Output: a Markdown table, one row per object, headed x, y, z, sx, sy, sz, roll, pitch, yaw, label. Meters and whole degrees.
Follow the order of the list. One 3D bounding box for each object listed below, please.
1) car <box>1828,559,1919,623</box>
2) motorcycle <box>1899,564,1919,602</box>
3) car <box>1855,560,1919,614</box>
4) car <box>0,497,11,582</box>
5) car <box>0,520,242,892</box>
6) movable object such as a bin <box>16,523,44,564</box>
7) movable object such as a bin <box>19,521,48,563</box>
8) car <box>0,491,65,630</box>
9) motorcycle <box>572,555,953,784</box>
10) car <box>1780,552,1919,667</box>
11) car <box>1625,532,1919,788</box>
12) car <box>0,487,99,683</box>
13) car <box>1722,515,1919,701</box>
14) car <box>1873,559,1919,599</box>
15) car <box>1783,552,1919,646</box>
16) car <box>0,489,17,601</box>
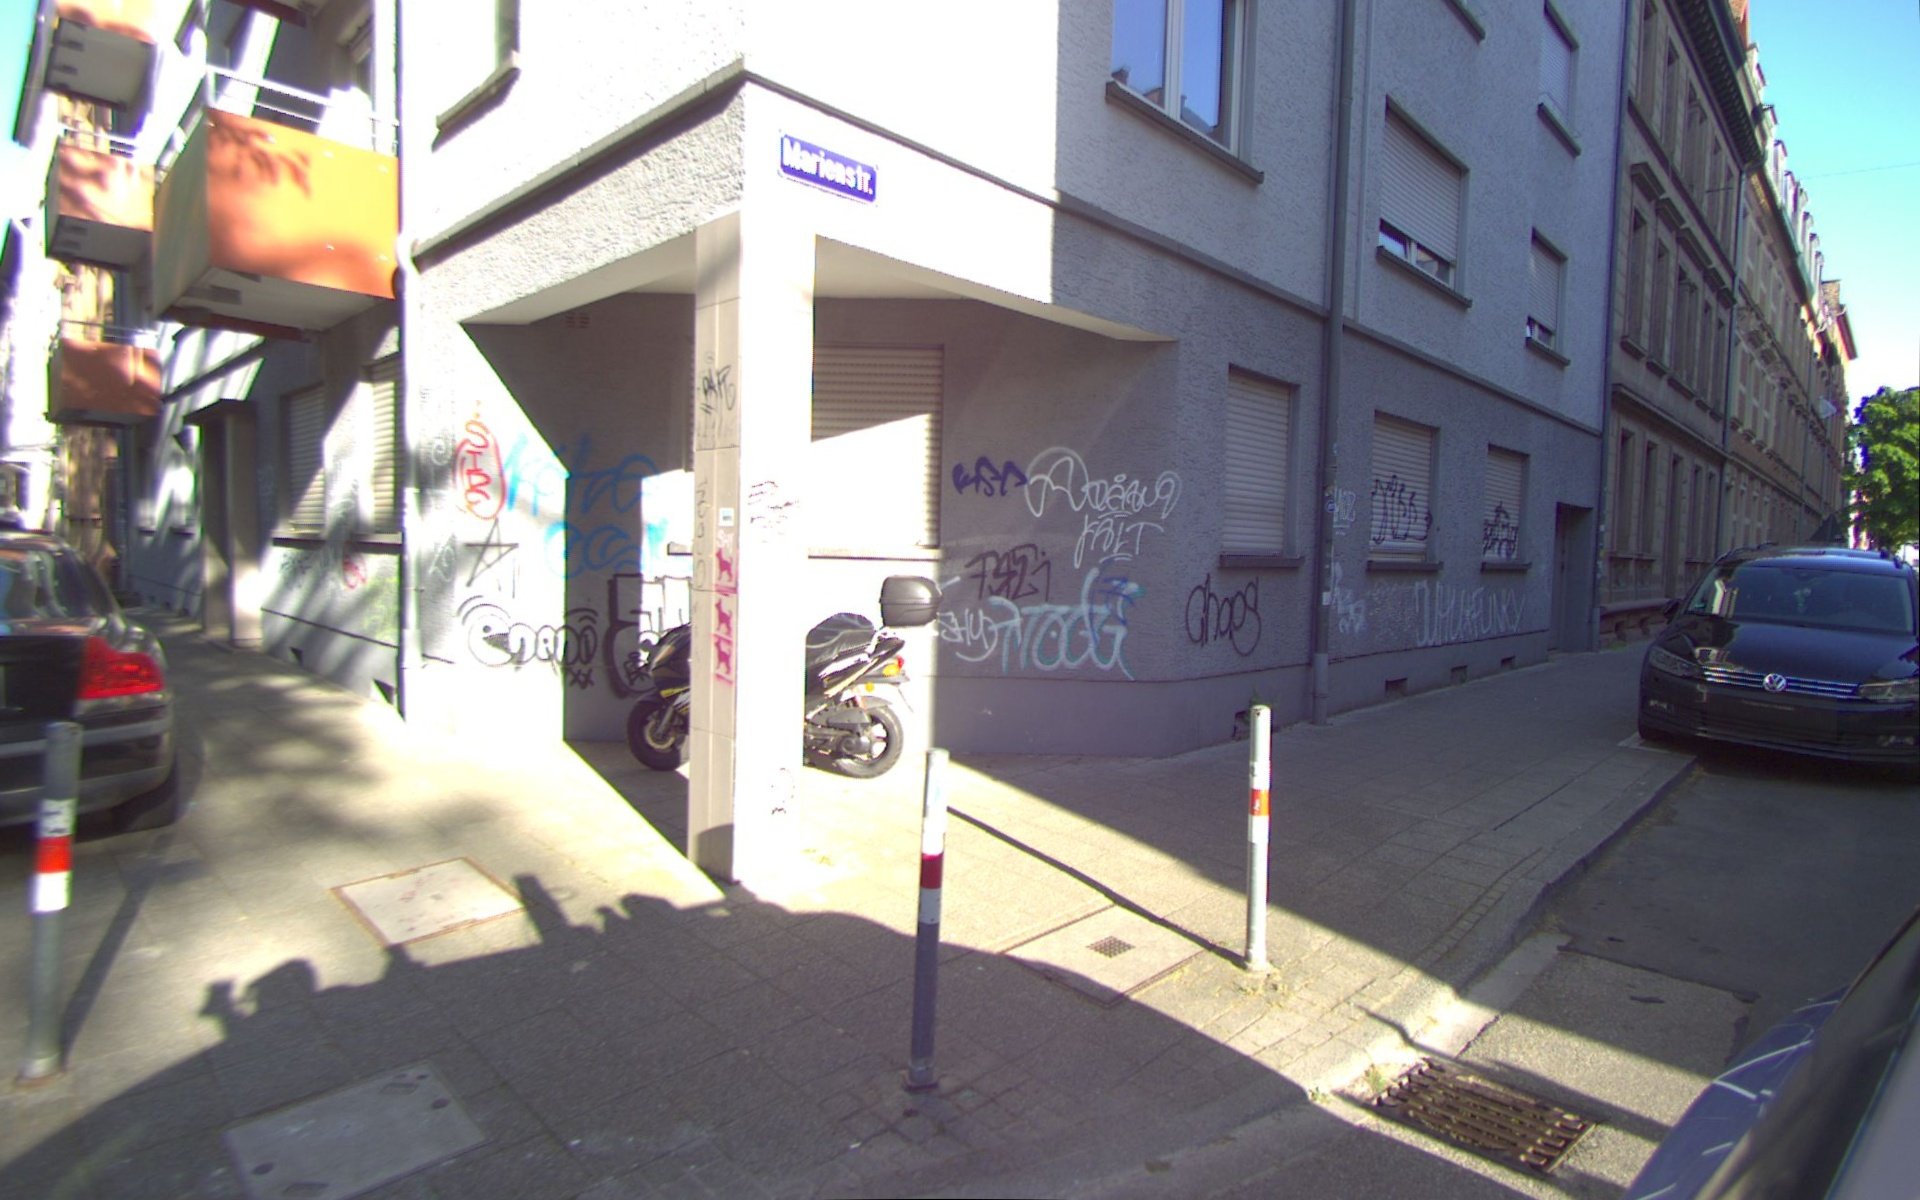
| x | y | z | sx | sy | sz | roll | pitch | yaw | label |
| --- | --- | --- | --- | --- | --- | --- | --- | --- | --- |
| 25.389 | -0.305 | 28.039 | 1.722 | 1.497 | 4.019 | 10 | 8 | 43 | car |
| 39.356 | -0.688 | 40.650 | 2.197 | 1.555 | 0.885 | 0 | 1 | 19 | motorcycle |
| 29.014 | -0.439 | 31.331 | 1.755 | 1.462 | 4.008 | 9 | 8 | 42 | car |
| -21.331 | -1.302 | 21.067 | 3.986 | 1.718 | 1.970 | 4 | 4 | 42 | car |
| -5.340 | 0.295 | 5.255 | 4.349 | 1.405 | 1.822 | 5 | 5 | 43 | car |
| -28.228 | -1.701 | 30.723 | 0.532 | 1.225 | 0.596 | 4 | 4 | 45 | movable object such as a bin |
| -27.470 | -1.709 | 30.016 | 0.532 | 1.225 | 0.596 | 4 | 4 | 45 | movable object such as a bin |
| -13.462 | -0.549 | 13.340 | 3.986 | 1.681 | 1.972 | 4 | 7 | 42 | car |
| -1.110 | 0.373 | 6.059 | 2.117 | 1.241 | 0.744 | 0 | 5 | 2 | motorcycle |
| 14.629 | 0.092 | 16.174 | 4.218 | 1.469 | 1.757 | -1 | 8 | -45 | car |
| 7.325 | 0.289 | 8.699 | 1.901 | 1.659 | 4.323 | 4 | 5 | 43 | car |
| -9.715 | -0.213 | 9.603 | 3.987 | 1.636 | 1.842 | 4 | 7 | 43 | car |
| 10.841 | 0.000 | 12.373 | 1.755 | 1.806 | 4.649 | 8 | 7 | 43 | car |
| 36.417 | -0.801 | 38.872 | 1.779 | 1.413 | 4.248 | 4 | 4 | 44 | car |
| 18.103 | -0.099 | 20.521 | 1.755 | 1.535 | 4.375 | 10 | 8 | 42 | car |
| -16.917 | -0.933 | 16.451 | 3.986 | 1.749 | 1.970 | 4 | 4 | 42 | car |
